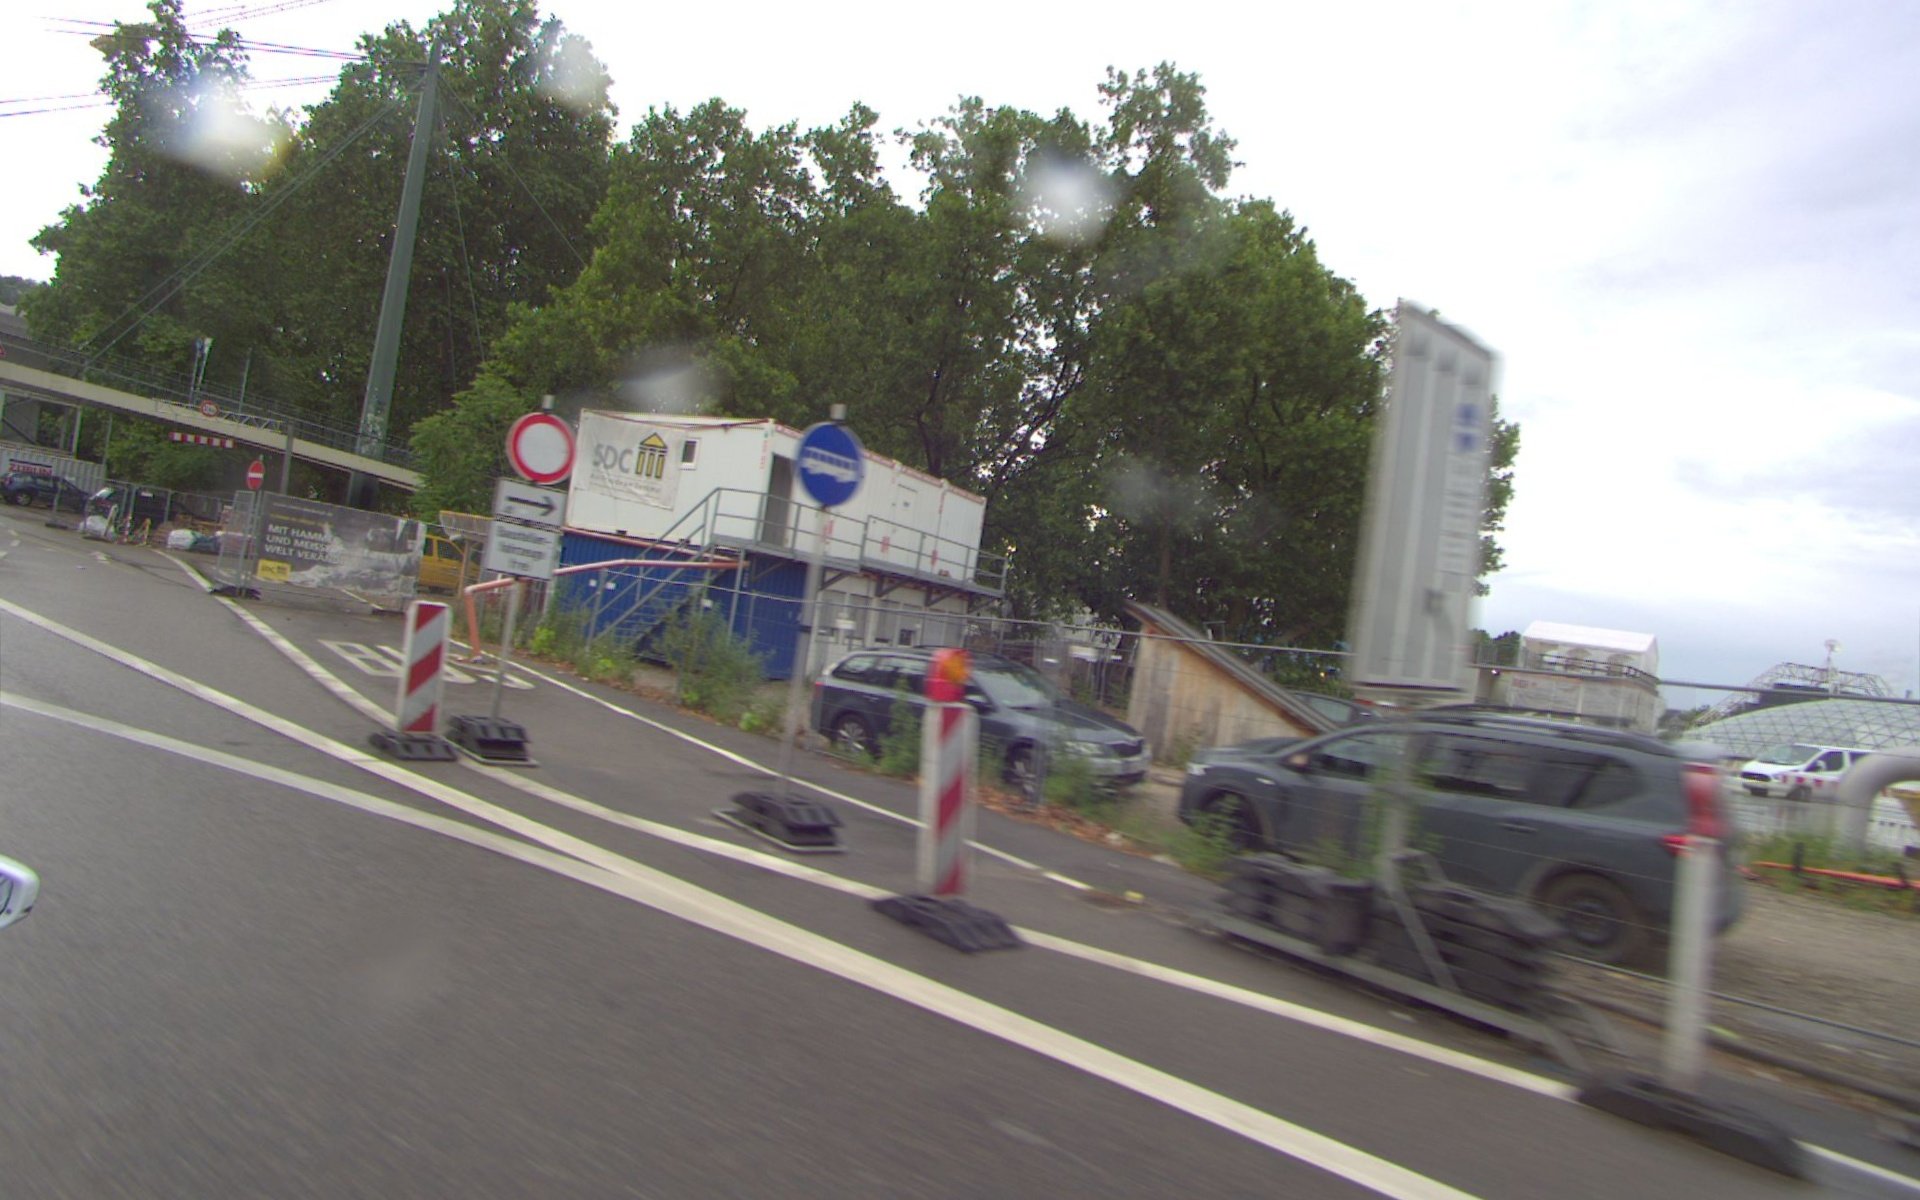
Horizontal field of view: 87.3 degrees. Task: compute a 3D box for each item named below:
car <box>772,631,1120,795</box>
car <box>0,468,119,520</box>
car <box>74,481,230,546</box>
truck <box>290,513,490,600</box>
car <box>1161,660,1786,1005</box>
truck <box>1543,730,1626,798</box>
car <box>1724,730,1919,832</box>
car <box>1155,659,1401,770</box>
[{"bbox_3d":[-0.193,1.326,12.791,3.931,1.502,1.854,4,-1,28],"label":"car"},{"bbox_3d":[-45.072,-5.284,50.051,1.758,1.648,4.551,10,0,32],"label":"car"},{"bbox_3d":[-33.516,-3.553,41.853,1.966,1.748,4.510,9,-1,29],"label":"car"},{"bbox_3d":[-18.776,-1.359,33.450,2.367,2.037,5.167,7,-2,28],"label":"truck"},{"bbox_3d":[4.197,1.647,8.717,4.352,1.672,1.915,7,4,43],"label":"car"},{"bbox_3d":[24.457,6.455,39.386,2.372,2.073,5.563,7,-5,33],"label":"truck"},{"bbox_3d":[26.799,5.560,30.925,5.171,2.308,1.952,7,1,-7],"label":"car"},{"bbox_3d":[5.768,2.035,18.309,3.930,1.320,1.717,7,-2,28],"label":"car"}]
